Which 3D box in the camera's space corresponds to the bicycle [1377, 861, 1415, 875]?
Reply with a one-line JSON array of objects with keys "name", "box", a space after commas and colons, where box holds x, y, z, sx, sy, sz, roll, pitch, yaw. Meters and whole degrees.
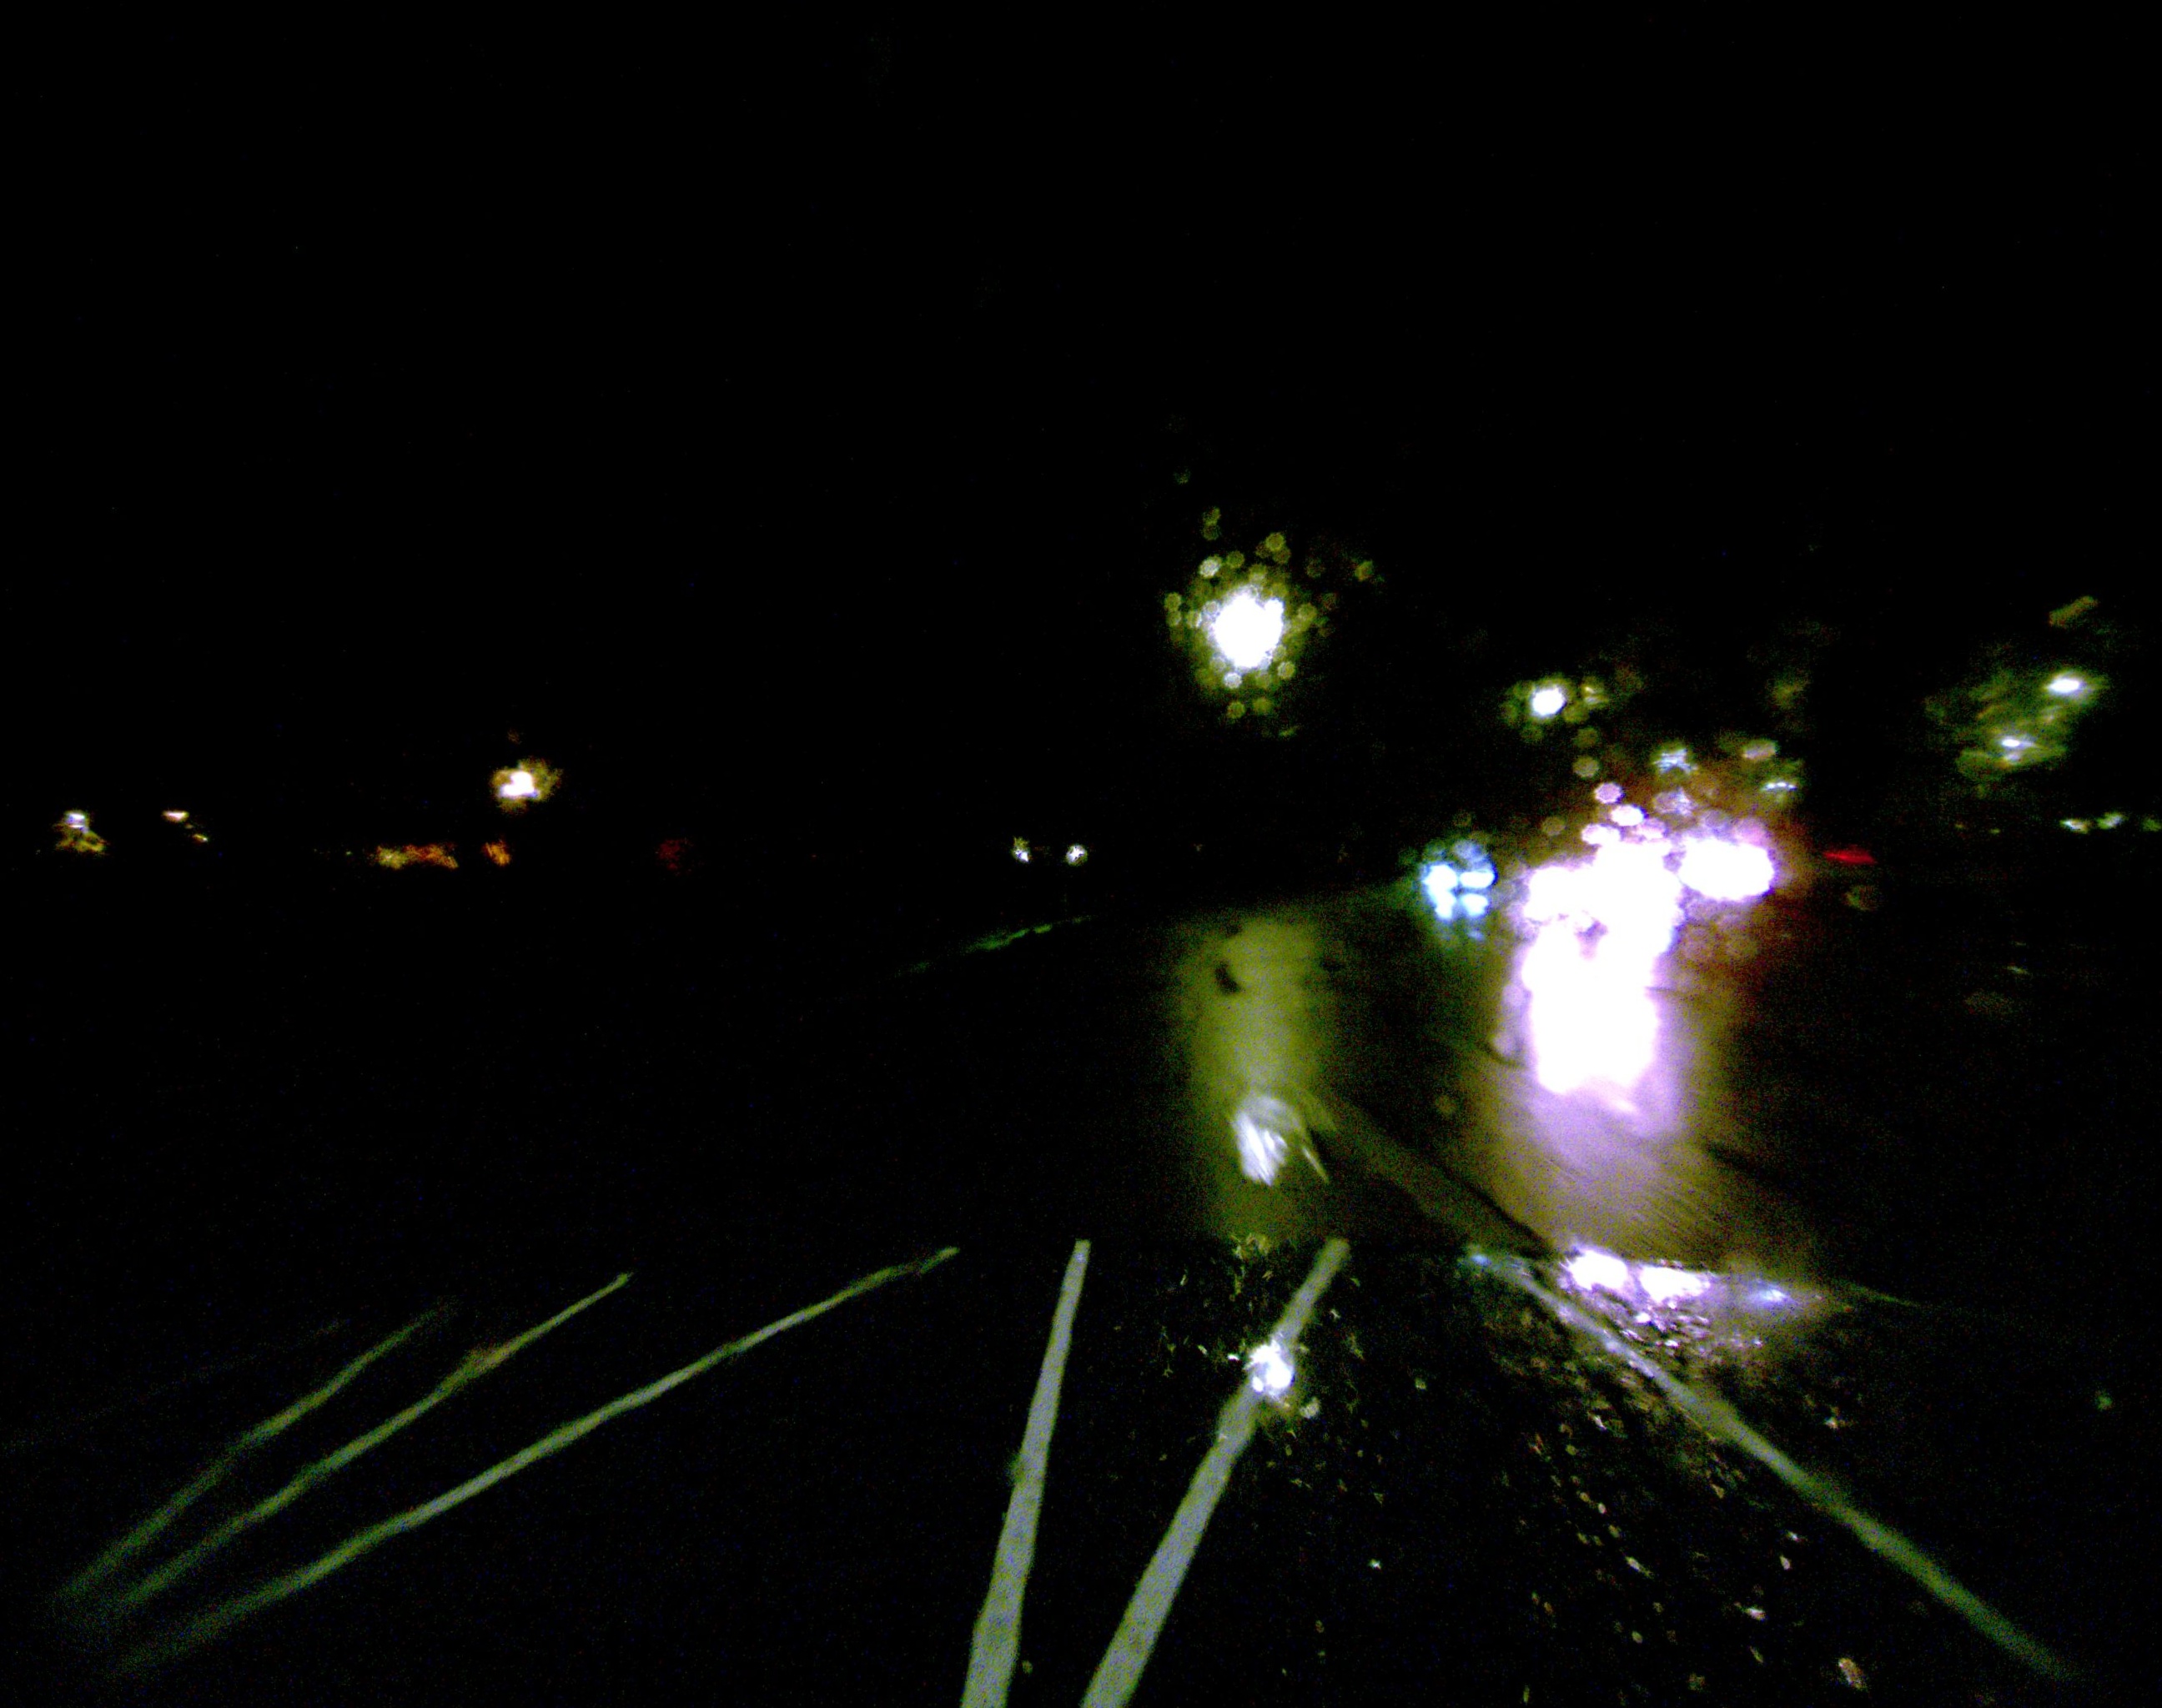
[{"name": "bicycle", "box": [22.366, 0.993, 53.990, 2.416, 0.971, 0.623, -2, -1, 28]}]

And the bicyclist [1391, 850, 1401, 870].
[{"name": "bicyclist", "box": [22.386, 0.420, 54.000, 0.604, 1.438, 0.618, -2, 0, 29]}]

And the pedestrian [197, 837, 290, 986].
[{"name": "pedestrian", "box": [-11.150, 0.736, 10.120, 0.652, 1.890, 0.730, -2, 0, 36]}]

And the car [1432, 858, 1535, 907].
[{"name": "car", "box": [15.952, 1.089, 29.998, 4.450, 1.709, 1.947, -1, -1, -39]}]

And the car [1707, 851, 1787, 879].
[{"name": "car", "box": [41.518, 0.671, 47.410, 3.951, 1.612, 1.949, -1, -1, -18]}]

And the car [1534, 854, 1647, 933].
[{"name": "car", "box": [11.474, 0.792, 17.227, 1.830, 1.517, 4.884, -2, -1, 33]}]

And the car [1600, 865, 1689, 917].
[{"name": "car", "box": [21.059, 1.336, 28.350, 4.203, 1.696, 1.830, -1, -1, -42]}]

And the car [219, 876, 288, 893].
[{"name": "car", "box": [-77.770, 2.851, 71.506, 4.157, 1.366, 1.717, -1, -1, -38]}]

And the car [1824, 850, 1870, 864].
[{"name": "car", "box": [80.729, 0.292, 80.157, 1.826, 1.364, 3.953, -2, -1, 18]}]

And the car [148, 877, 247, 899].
[{"name": "car", "box": [-71.590, 2.727, 61.684, 5.005, 1.527, 1.717, -1, -1, -38]}]

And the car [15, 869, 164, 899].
[{"name": "car", "box": [-57.924, 1.709, 44.544, 5.005, 1.527, 1.717, -1, -1, -38]}]
